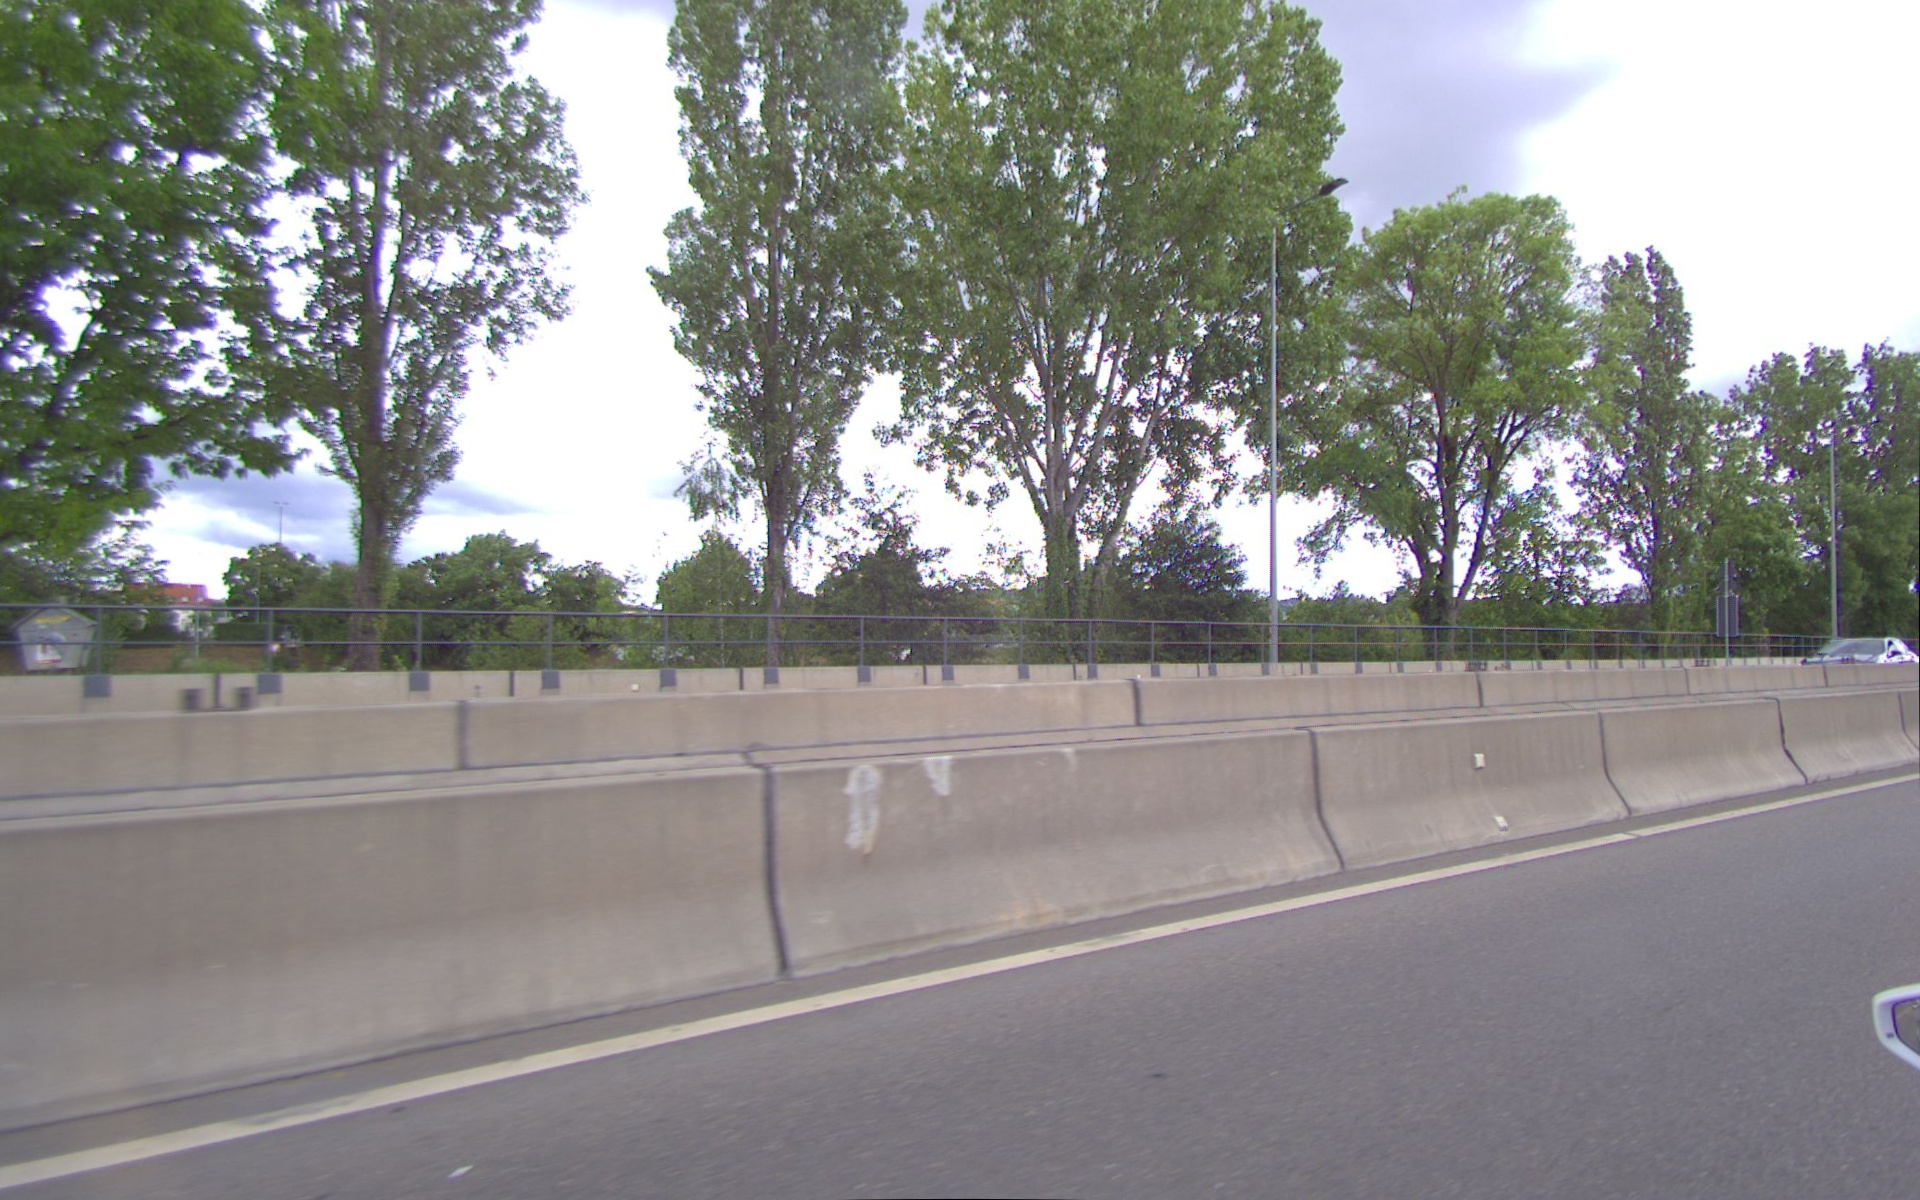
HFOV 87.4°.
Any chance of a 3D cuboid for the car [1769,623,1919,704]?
[{"bbox_3d":[24.380,1.661,27.187,4.946,1.951,2.317,2,0,-32],"label":"car"}]
